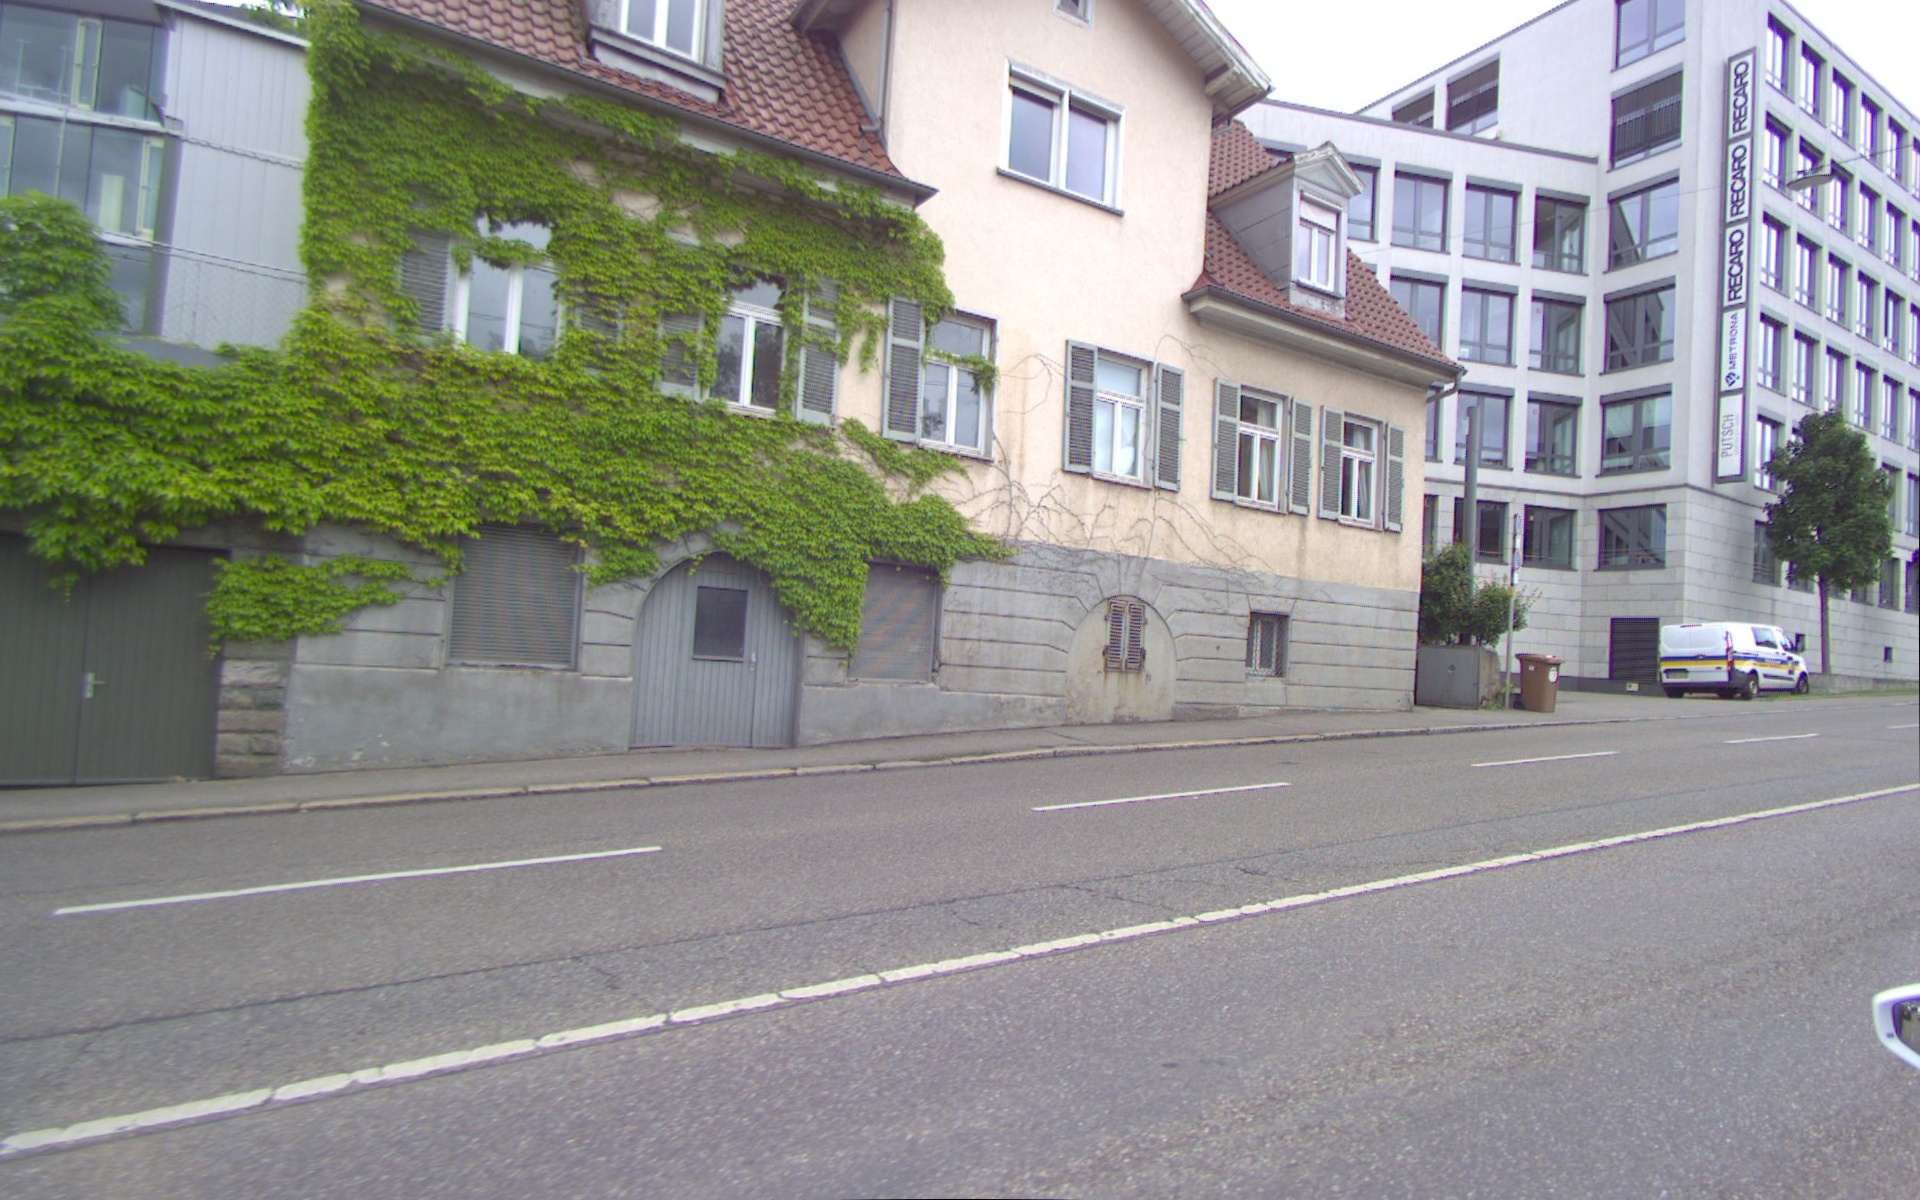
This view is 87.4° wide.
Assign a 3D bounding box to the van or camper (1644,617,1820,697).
[{"bbox_3d":[21.046,1.557,27.346,4.814,1.993,2.052,2,-4,-29],"label":"van or camper"}]

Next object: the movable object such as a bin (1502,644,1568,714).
[{"bbox_3d":[10.905,1.481,19.049,0.692,1.205,0.804,1,3,-36],"label":"movable object such as a bin"}]
